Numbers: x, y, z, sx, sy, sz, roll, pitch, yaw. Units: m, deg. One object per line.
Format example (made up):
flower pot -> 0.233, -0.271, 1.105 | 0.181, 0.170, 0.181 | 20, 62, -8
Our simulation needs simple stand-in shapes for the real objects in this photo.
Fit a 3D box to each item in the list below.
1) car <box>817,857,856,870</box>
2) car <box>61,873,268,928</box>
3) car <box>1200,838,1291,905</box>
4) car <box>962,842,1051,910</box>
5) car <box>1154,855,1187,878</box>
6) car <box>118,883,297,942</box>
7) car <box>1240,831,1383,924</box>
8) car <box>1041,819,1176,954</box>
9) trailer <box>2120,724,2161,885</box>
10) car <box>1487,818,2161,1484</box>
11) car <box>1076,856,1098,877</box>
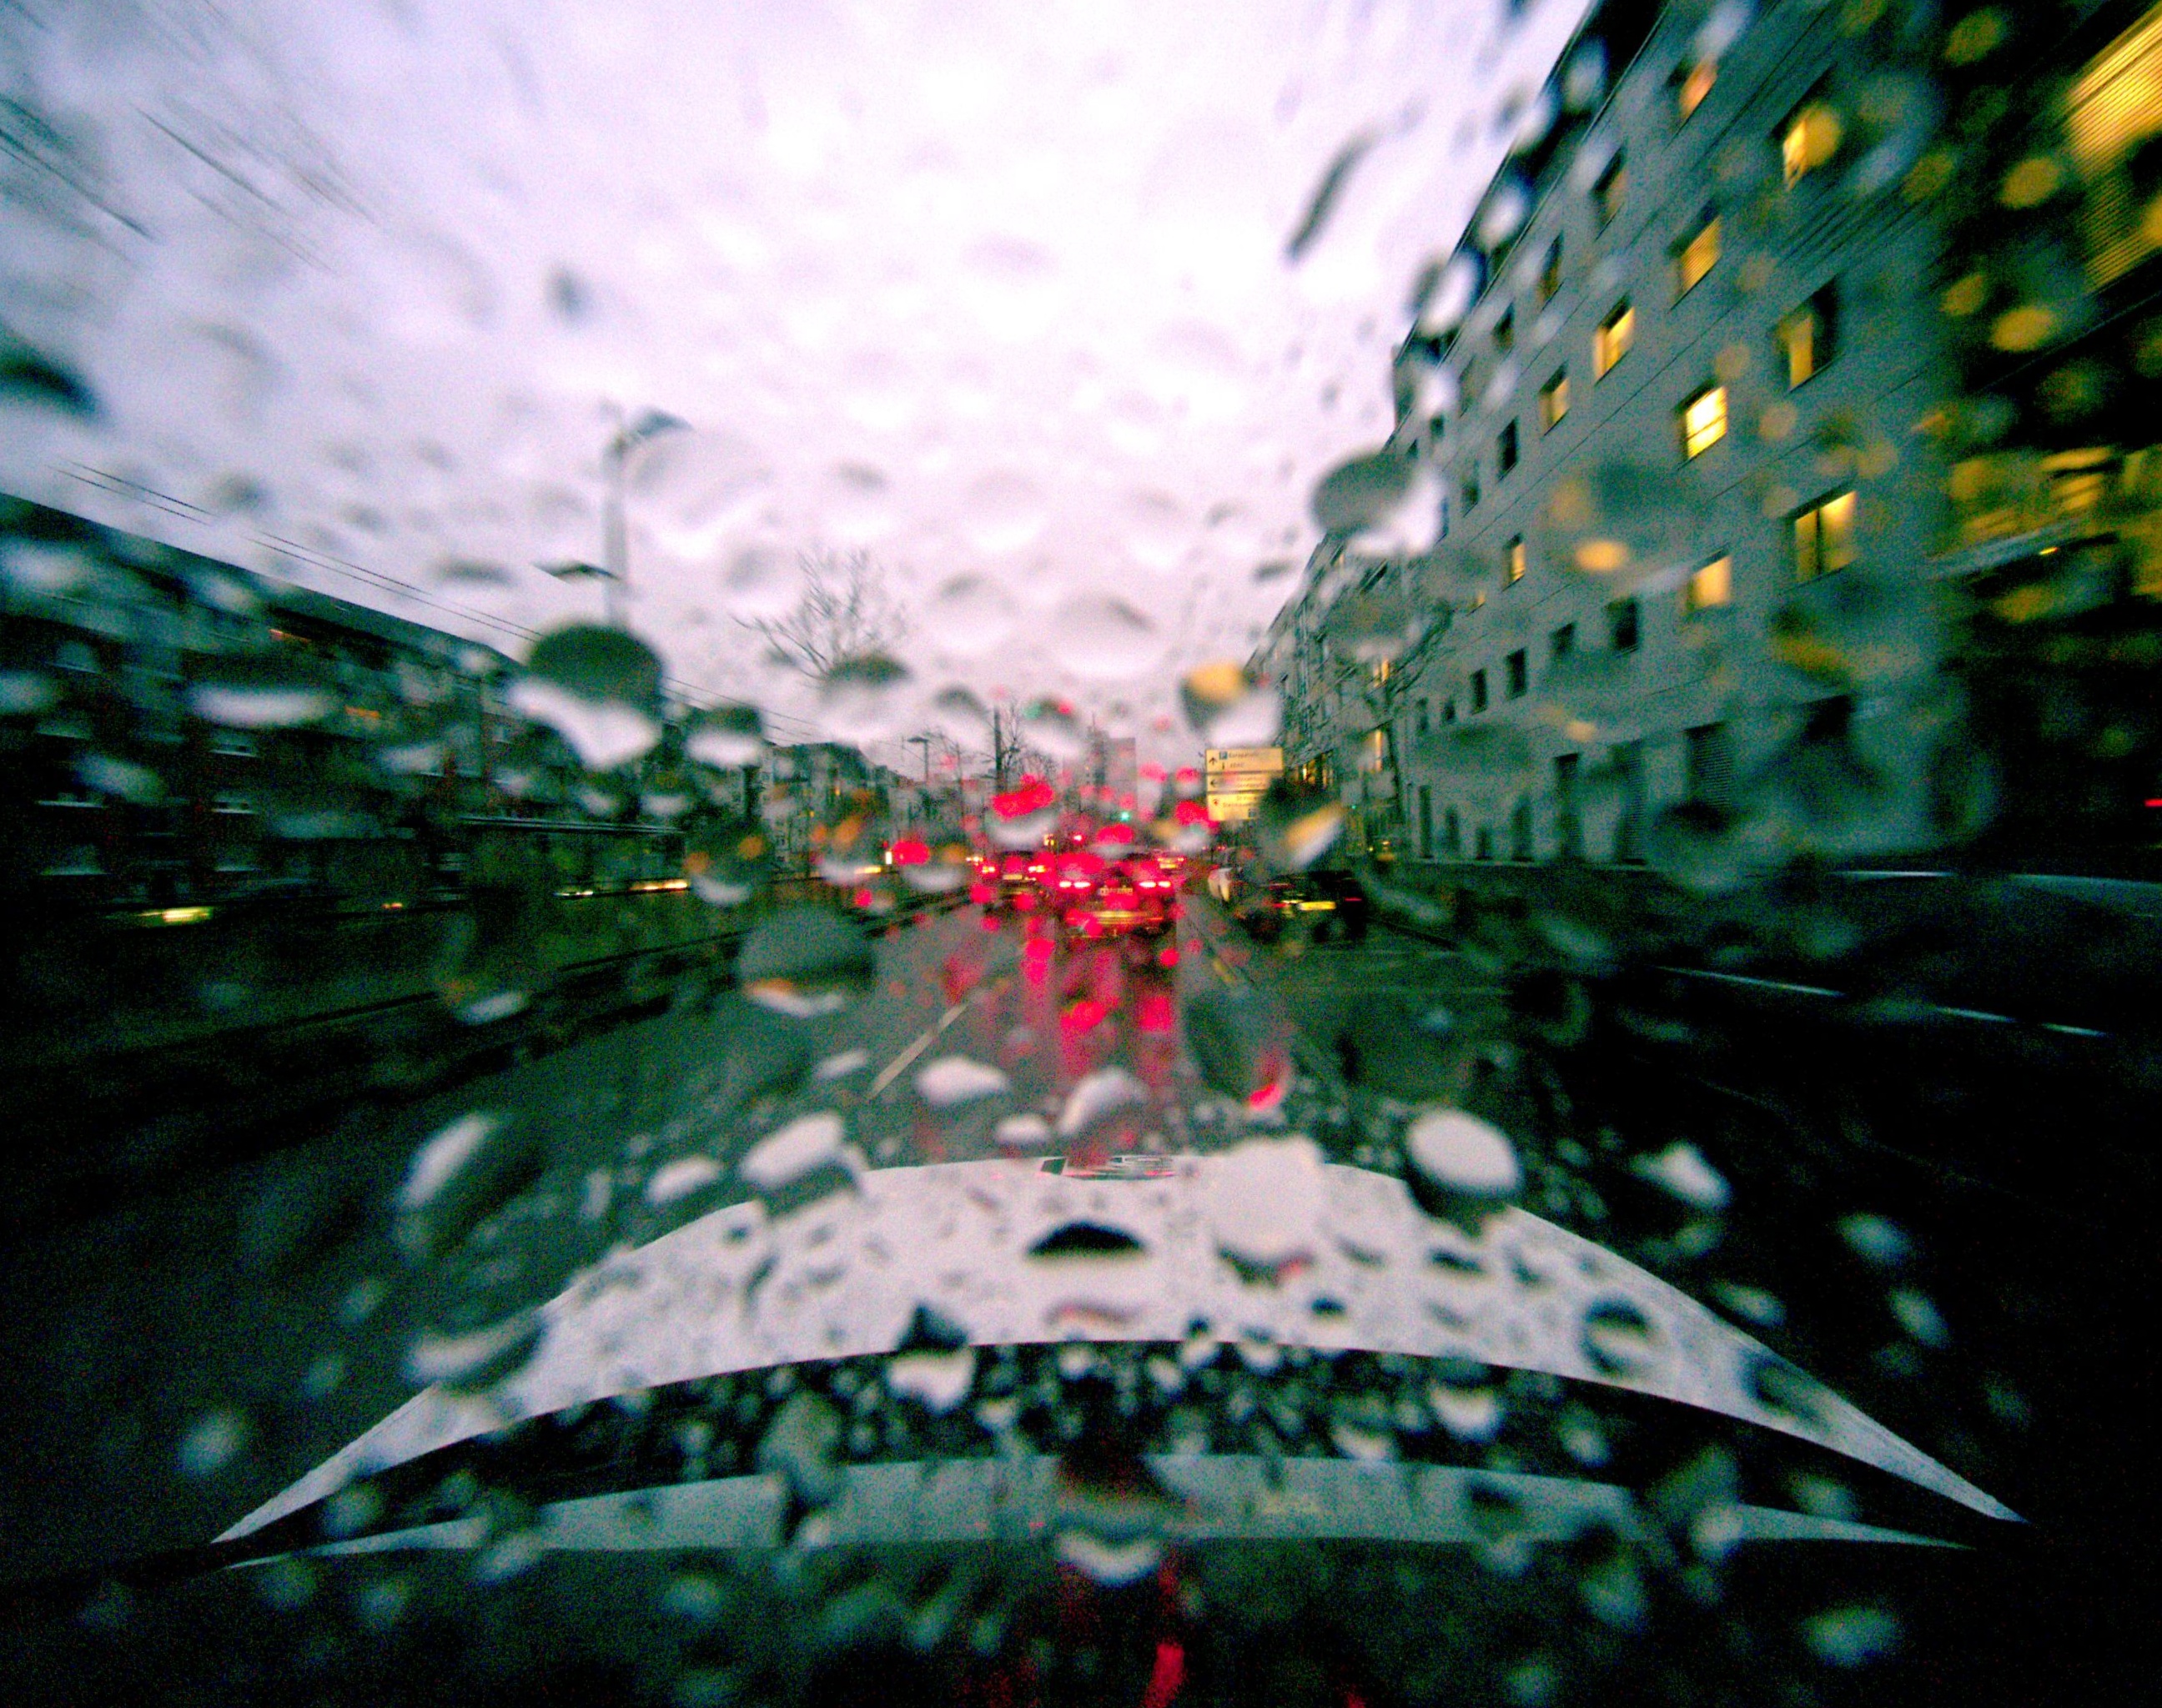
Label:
car -> -26.760, 1.005, 89.130 | 3.788, 1.366, 1.697 | 0, -1, -2
car -> -28.717, 1.395, 25.748 | 1.718, 1.544, 4.153 | 0, -1, 3
car -> 3.866, 0.365, 19.661 | 1.585, 1.394, 3.489 | -3, 0, 3
car -> -1.995, 0.593, 23.033 | 1.986, 1.712, 4.326 | 0, -1, 2
car -> 5.724, 0.790, 52.447 | 1.879, 1.353, 4.105 | -1, 1, 3
car -> -24.165, 1.574, 22.691 | 1.329, 1.425, 3.320 | 0, -1, 1
car -> 3.902, 0.336, 14.457 | 1.745, 1.403, 4.257 | -1, 1, 6
car -> 0.425, 0.500, 14.046 | 1.987, 1.976, 4.068 | 0, -1, 0
trailer -> 15.247, -0.639, 8.719 | 5.039, 1.911, 2.135 | -2, 1, 8
car -> 3.181, 0.651, 2.830 | 1.589, 1.440, 4.231 | 0, -1, 3
car -> 0.676, 1.225, 83.811 | 1.944, 2.033, 4.888 | -1, 0, 4
